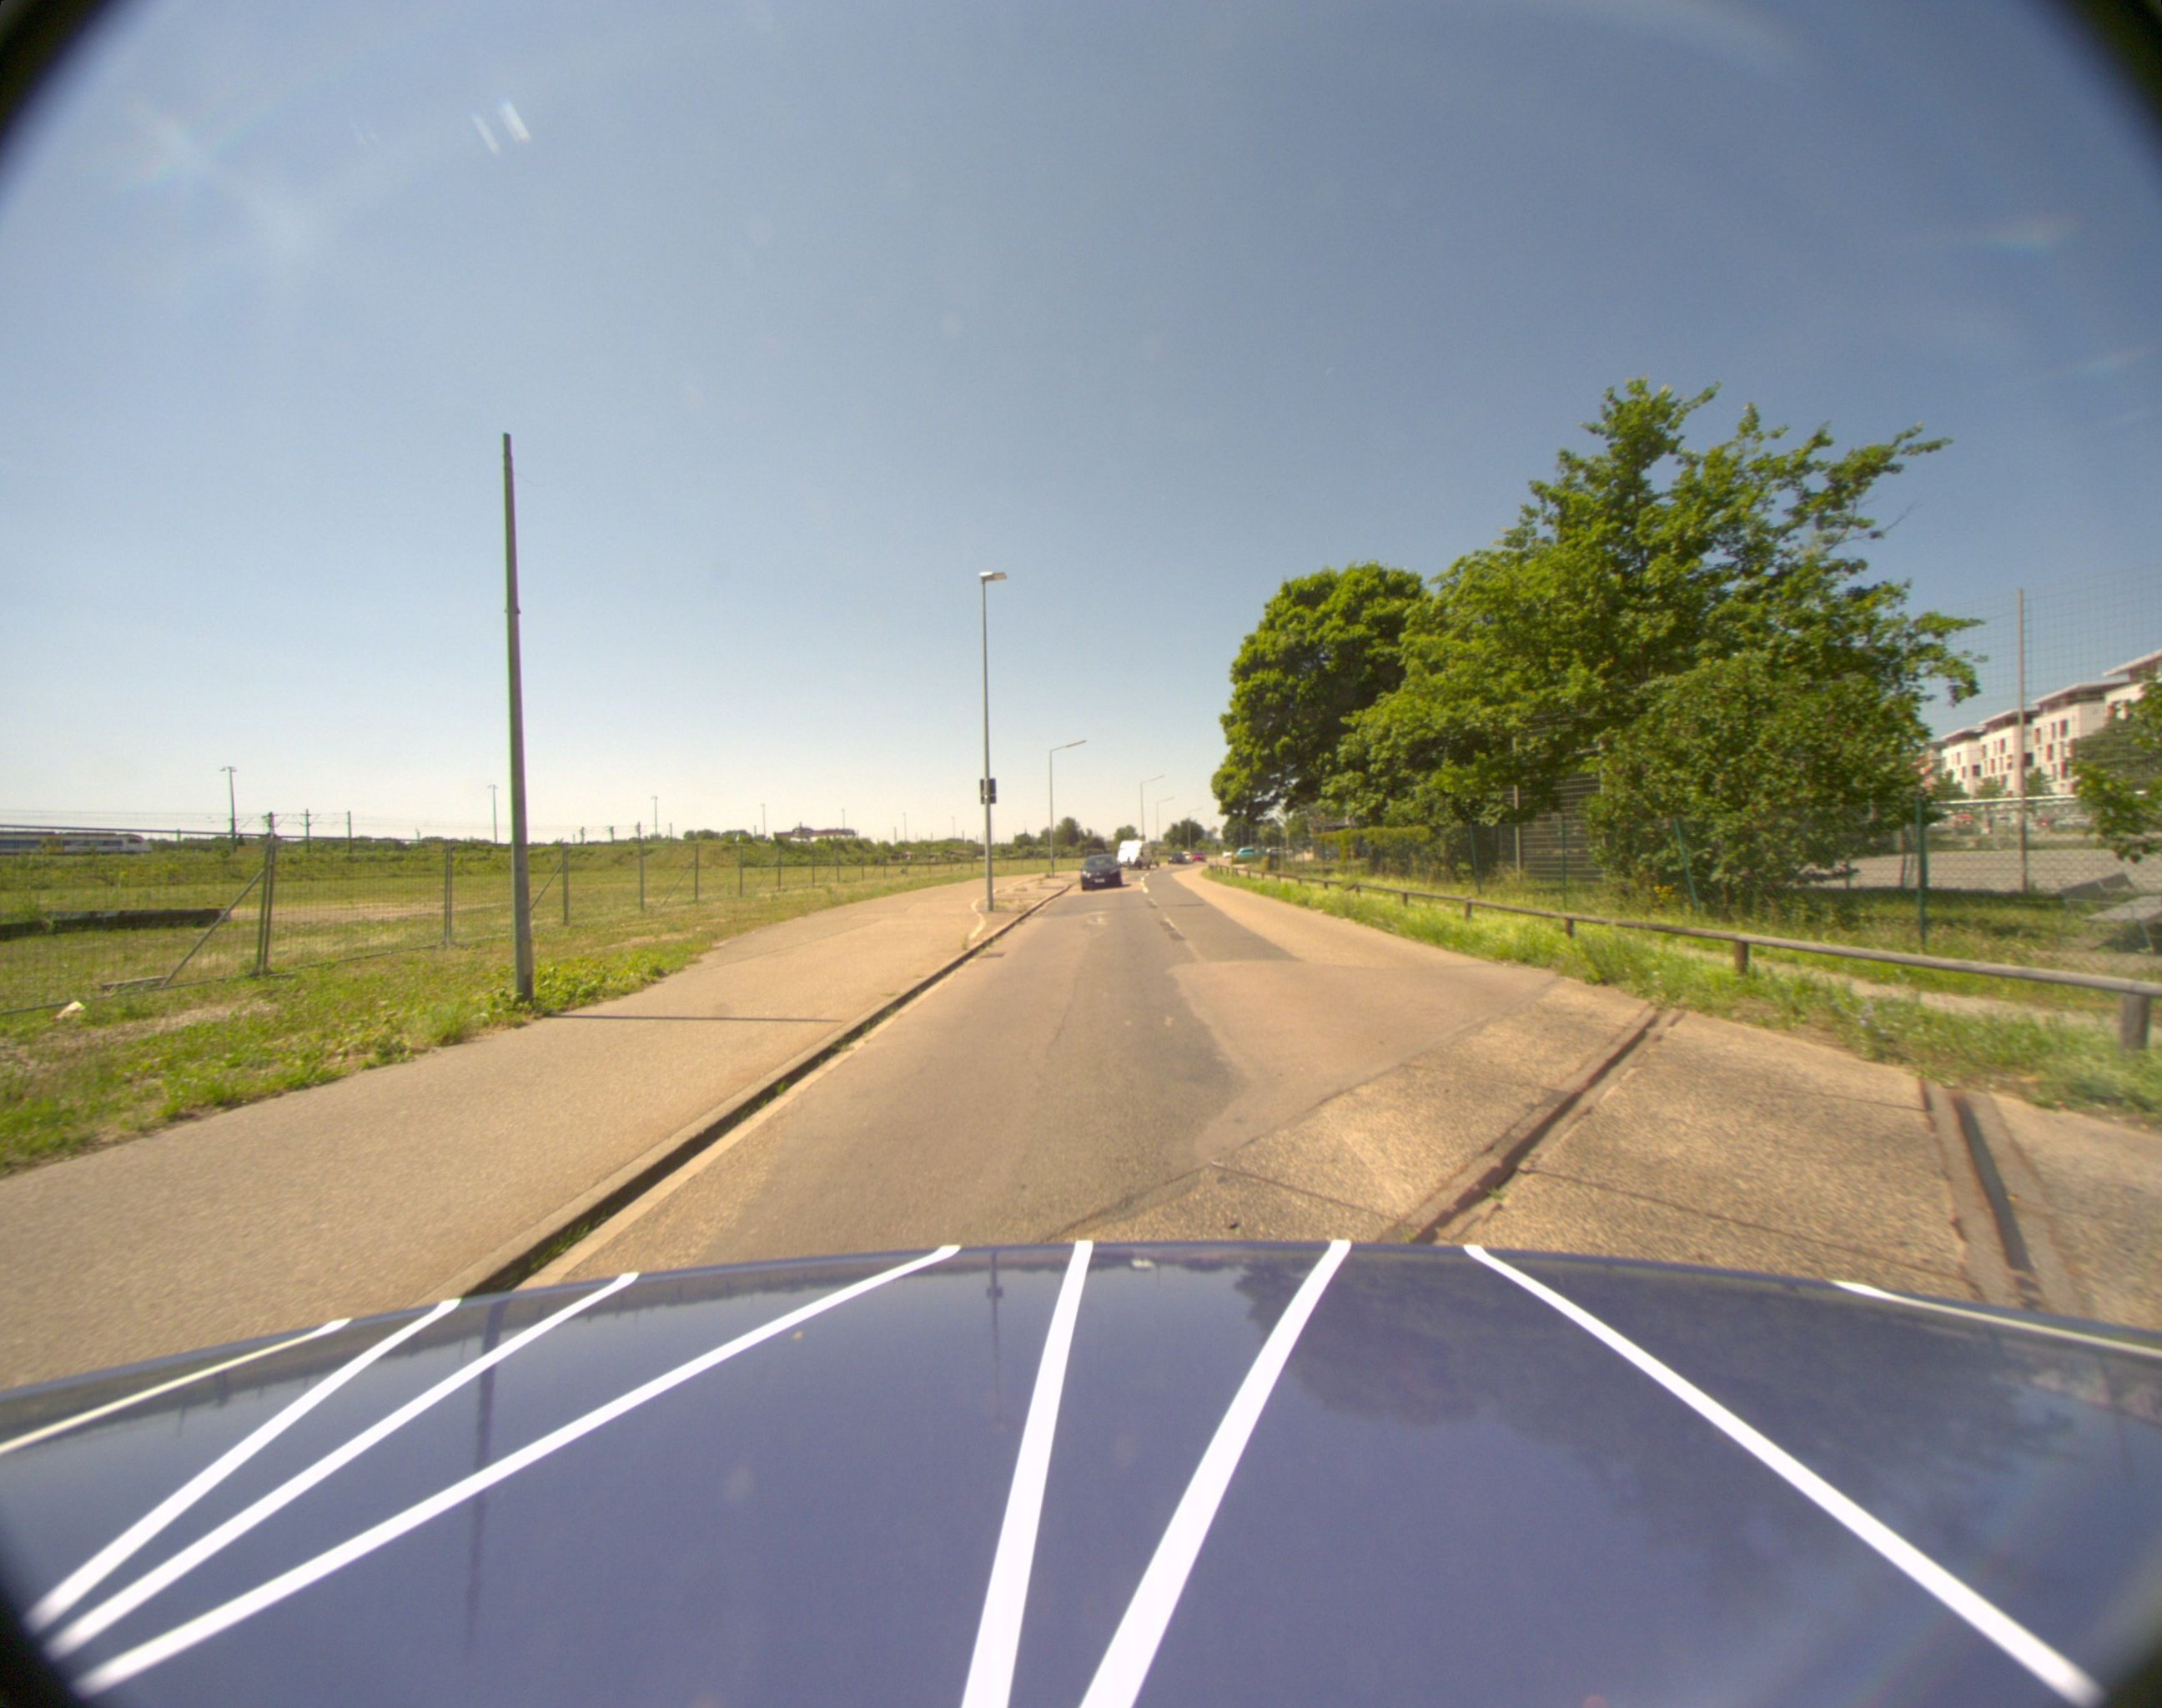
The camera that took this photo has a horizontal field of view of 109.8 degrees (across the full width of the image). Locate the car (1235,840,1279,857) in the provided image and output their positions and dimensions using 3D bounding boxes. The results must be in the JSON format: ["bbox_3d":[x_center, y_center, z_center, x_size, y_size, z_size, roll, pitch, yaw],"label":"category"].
[{"bbox_3d":[17.518,-0.579,75.594,3.991,1.543,1.893,-2,1,21],"label":"car"}]

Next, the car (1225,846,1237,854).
[{"bbox_3d":[29.224,-0.857,147.972,1.652,1.458,3.871,-2,0,18],"label":"car"}]

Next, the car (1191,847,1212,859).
[{"bbox_3d":[16.767,-0.141,105.579,1.651,1.458,3.872,-2,0,26],"label":"car"}]

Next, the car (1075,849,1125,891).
[{"bbox_3d":[0.861,0.621,31.659,1.653,1.458,4.161,-6,0,5],"label":"car"}]

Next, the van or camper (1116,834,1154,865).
[{"bbox_3d":[4.842,-0.401,67.362,2.138,2.558,5.872,-2,0,16],"label":"van or camper"}]

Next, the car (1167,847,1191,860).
[{"bbox_3d":[11.452,-0.067,88.680,1.651,1.458,3.872,-2,0,23],"label":"car"}]

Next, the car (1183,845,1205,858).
[{"bbox_3d":[14.067,-0.282,94.478,1.651,1.458,3.872,-2,1,25],"label":"car"}]

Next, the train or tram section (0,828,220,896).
[{"bbox_3d":[-160.449,1.235,119.742,9.581,9.868,31.251,-2,0,17],"label":"train or tram section"}]
